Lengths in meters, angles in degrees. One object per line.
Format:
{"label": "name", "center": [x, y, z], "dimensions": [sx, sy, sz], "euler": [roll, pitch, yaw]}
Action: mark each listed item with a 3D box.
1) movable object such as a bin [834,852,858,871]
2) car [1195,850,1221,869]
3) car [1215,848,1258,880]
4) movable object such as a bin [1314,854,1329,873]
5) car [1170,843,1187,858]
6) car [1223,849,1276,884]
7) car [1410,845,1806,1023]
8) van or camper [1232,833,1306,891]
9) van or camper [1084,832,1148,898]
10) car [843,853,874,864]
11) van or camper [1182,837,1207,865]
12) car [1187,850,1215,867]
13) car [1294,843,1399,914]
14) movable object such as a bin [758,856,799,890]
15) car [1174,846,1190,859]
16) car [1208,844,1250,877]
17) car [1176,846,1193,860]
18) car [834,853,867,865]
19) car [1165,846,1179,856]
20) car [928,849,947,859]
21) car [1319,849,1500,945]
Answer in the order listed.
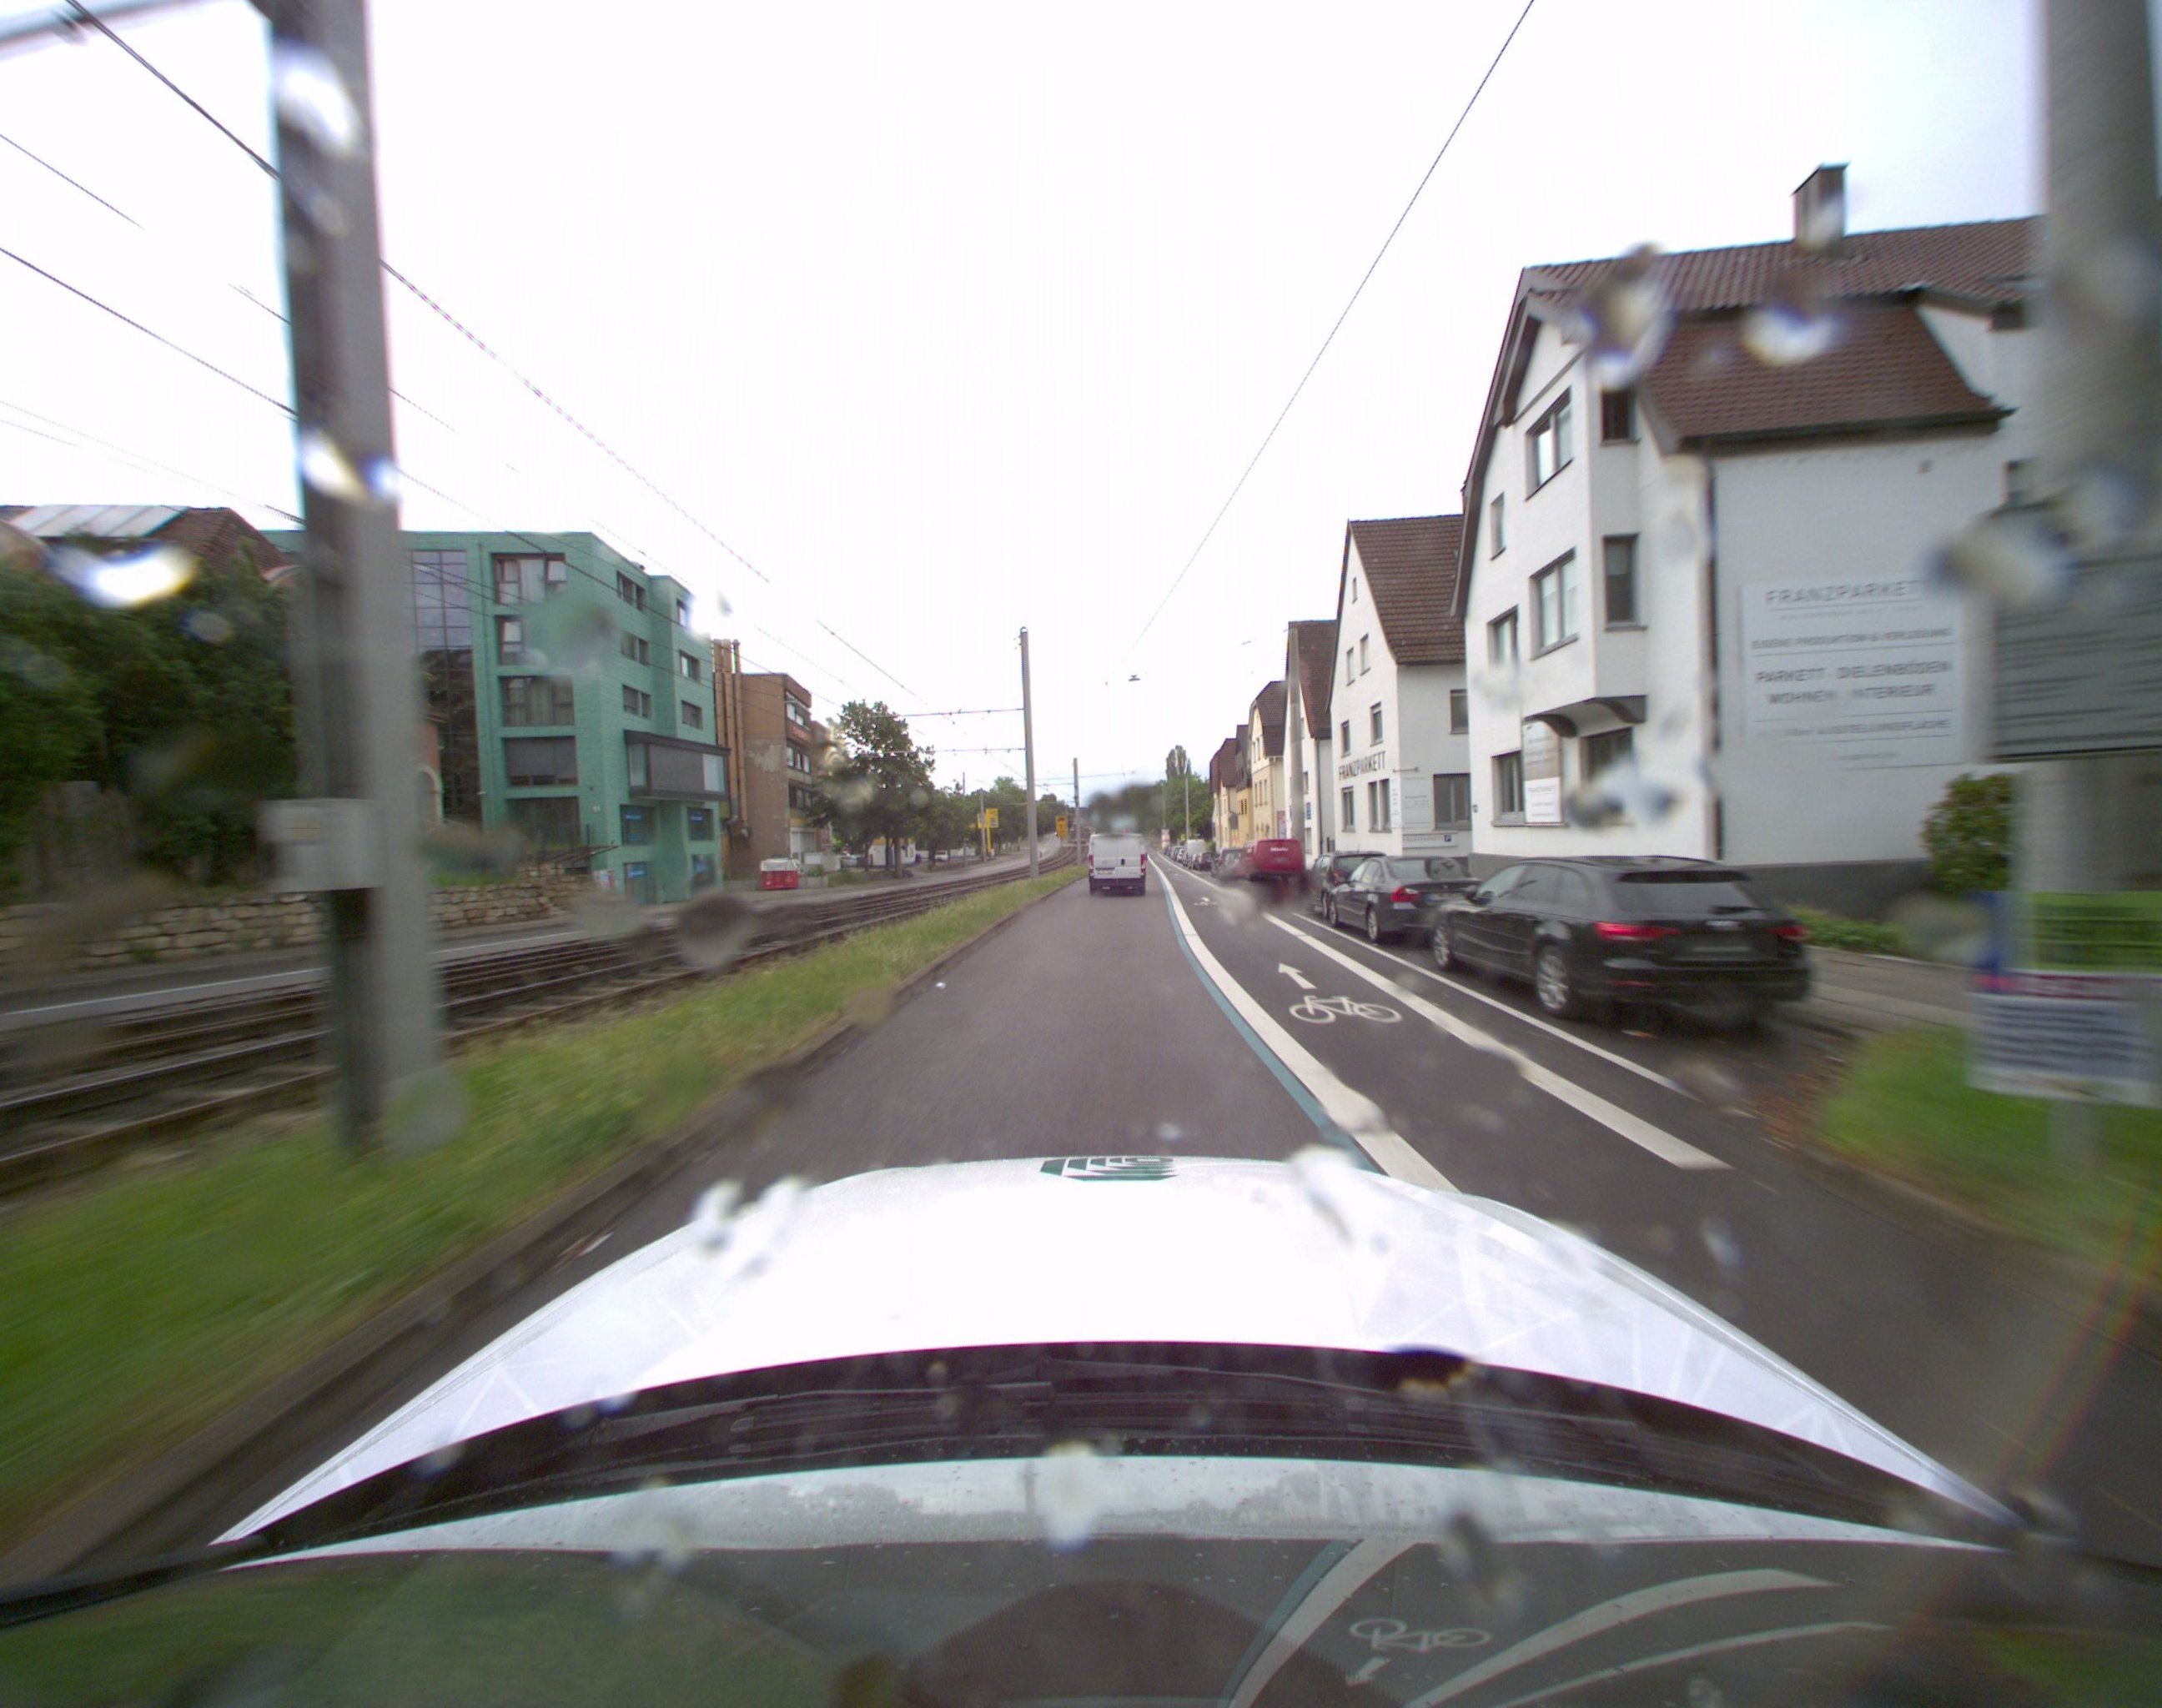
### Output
{"label": "movable object such as a bin", "center": [-25.878, 0.798, 89.894], "dimensions": [1.992, 1.919, 3.562], "euler": [0, 2, -8]}
{"label": "car", "center": [10.146, 0.419, 65.196], "dimensions": [1.560, 1.498, 3.512], "euler": [0, 0, 0]}
{"label": "car", "center": [7.880, 0.472, 41.584], "dimensions": [1.627, 1.538, 4.139], "euler": [0, 0, 3]}
{"label": "movable object such as a bin", "center": [11.564, 0.463, 39.152], "dimensions": [0.584, 0.879, 0.448], "euler": [-2, 0, 2]}
{"label": "car", "center": [12.575, -0.515, 105.141], "dimensions": [1.740, 1.807, 3.957], "euler": [-1, 1, 2]}
{"label": "car", "center": [7.341, 0.513, 35.865], "dimensions": [1.787, 1.376, 4.678], "euler": [-2, 0, 6]}
{"label": "car", "center": [5.174, 0.645, 8.878], "dimensions": [1.669, 1.423, 4.571], "euler": [-1, 0, 5]}
{"label": "van or camper", "center": [6.891, 0.266, 30.353], "dimensions": [1.843, 1.920, 5.000], "euler": [-2, 0, 4]}
{"label": "van or camper", "center": [1.208, 0.356, 30.278], "dimensions": [2.192, 2.252, 4.683], "euler": [0, 0, 0]}
{"label": "car", "center": [-28.956, 0.592, 106.065], "dimensions": [3.780, 1.479, 1.564], "euler": [0, 0, -23]}
{"label": "van or camper", "center": [10.865, -0.320, 78.303], "dimensions": [1.985, 2.563, 6.049], "euler": [0, 1, 3]}
{"label": "car", "center": [10.423, 0.394, 71.255], "dimensions": [1.782, 1.406, 4.552], "euler": [0, 1, 0]}
{"label": "car", "center": [6.213, 0.550, 19.422], "dimensions": [1.570, 1.451, 3.725], "euler": [-2, -1, 6]}
{"label": "movable object such as a bin", "center": [-20.211, 1.260, 54.540], "dimensions": [2.130, 2.156, 1.799], "euler": [0, 2, -6]}
{"label": "car", "center": [12.294, -0.188, 99.531], "dimensions": [1.639, 1.445, 3.958], "euler": [0, 1, 3]}
{"label": "car", "center": [8.357, 0.322, 46.326], "dimensions": [1.831, 1.800, 4.690], "euler": [0, 0, 3]}
{"label": "car", "center": [11.948, -0.137, 93.974], "dimensions": [1.639, 1.615, 4.108], "euler": [0, 1, 3]}
{"label": "car", "center": [-28.664, 0.613, 101.130], "dimensions": [3.780, 1.453, 1.540], "euler": [0, 0, -23]}
{"label": "car", "center": [14.310, -0.520, 128.610], "dimensions": [1.840, 1.499, 3.956], "euler": [-1, 1, 2]}
{"label": "car", "center": [-20.383, -0.012, 115.931], "dimensions": [1.986, 1.442, 4.001], "euler": [0, 0, 1]}
{"label": "car", "center": [5.619, 0.646, 14.569], "dimensions": [1.704, 1.412, 4.571], "euler": [-2, 0, 5]}
